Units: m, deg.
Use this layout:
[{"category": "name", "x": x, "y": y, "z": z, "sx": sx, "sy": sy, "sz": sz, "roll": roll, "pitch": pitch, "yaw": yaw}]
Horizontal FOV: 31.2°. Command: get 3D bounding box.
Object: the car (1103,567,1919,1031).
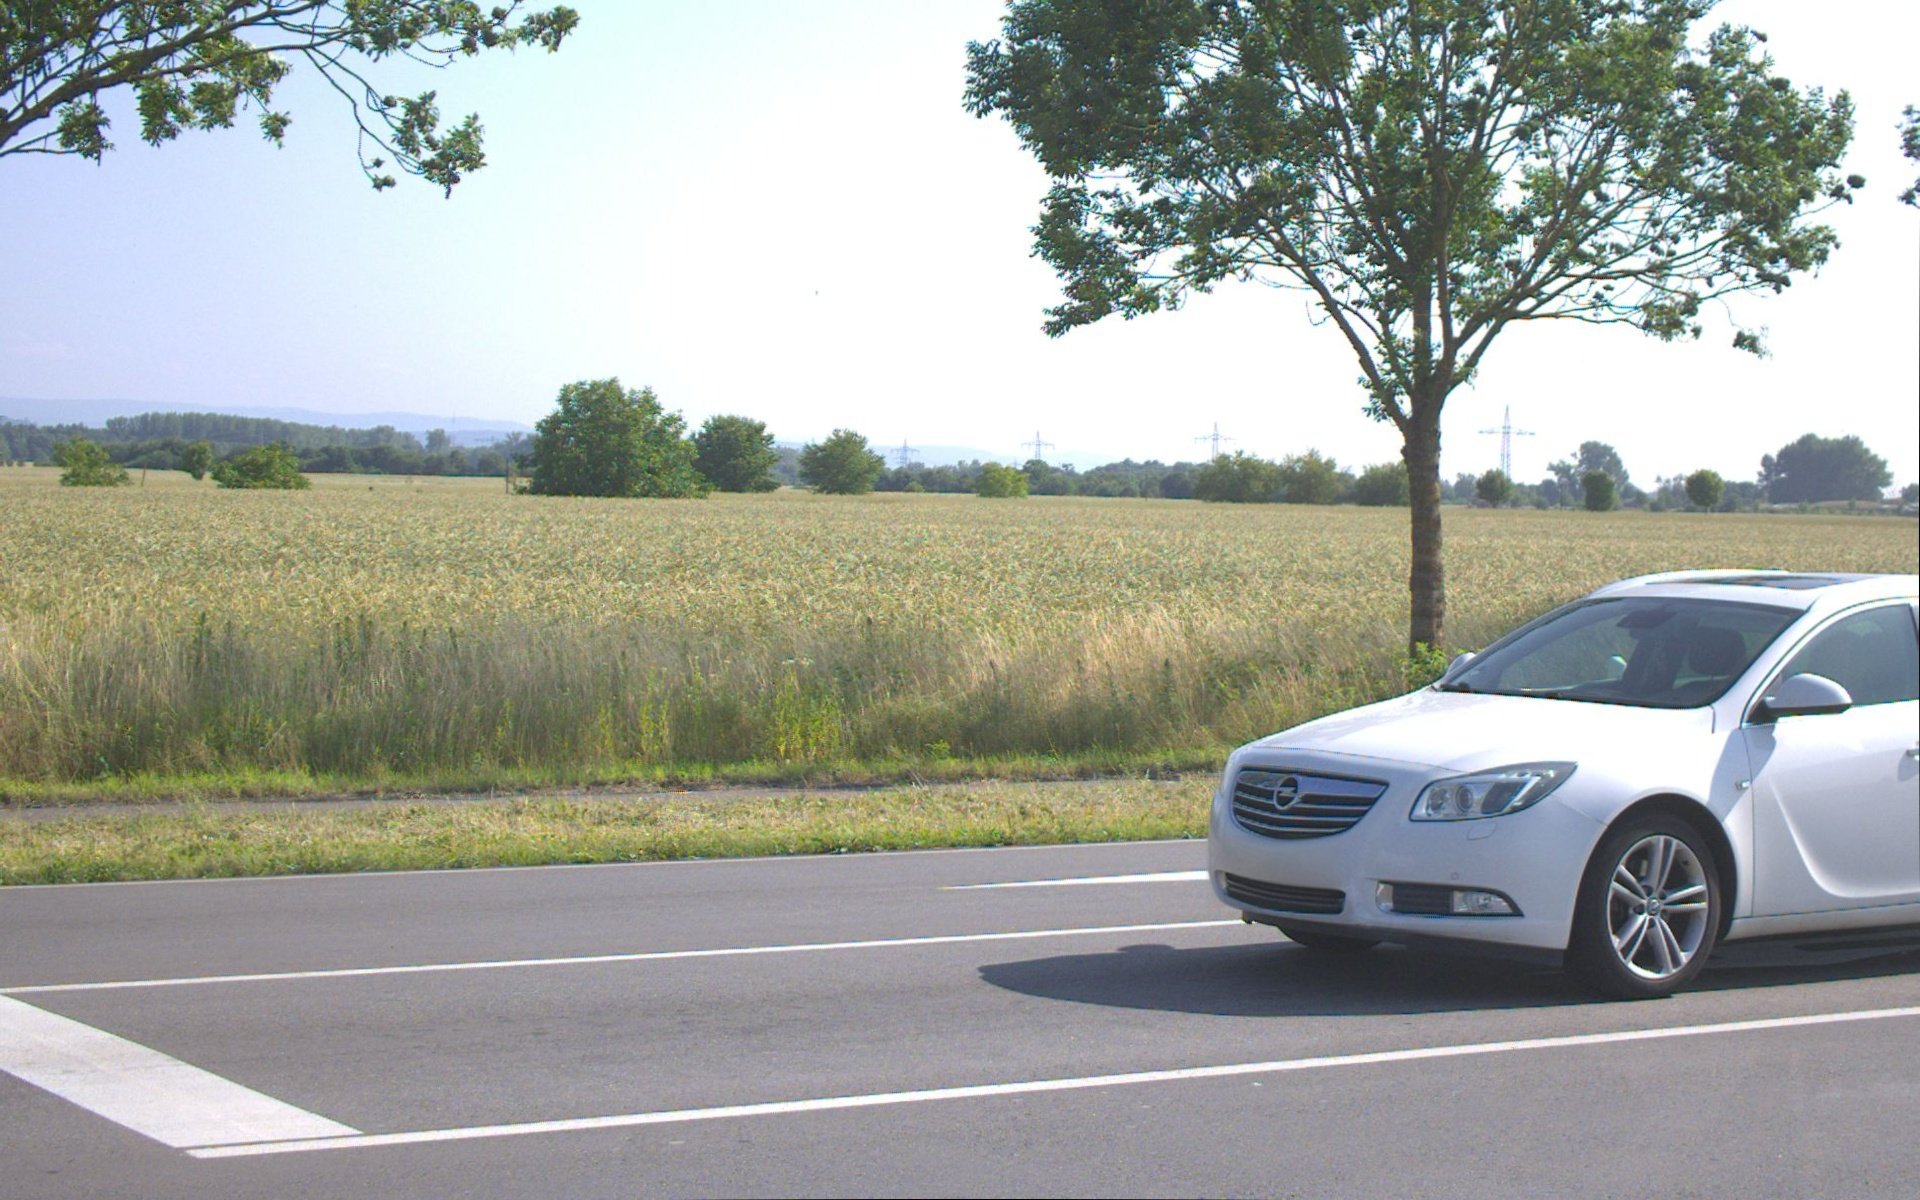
[{"category": "car", "x": 2.978, "y": 0.657, "z": 13.253, "sx": 4.693, "sy": 1.487, "sz": 1.765, "roll": 0, "pitch": 1, "yaw": -34}]
